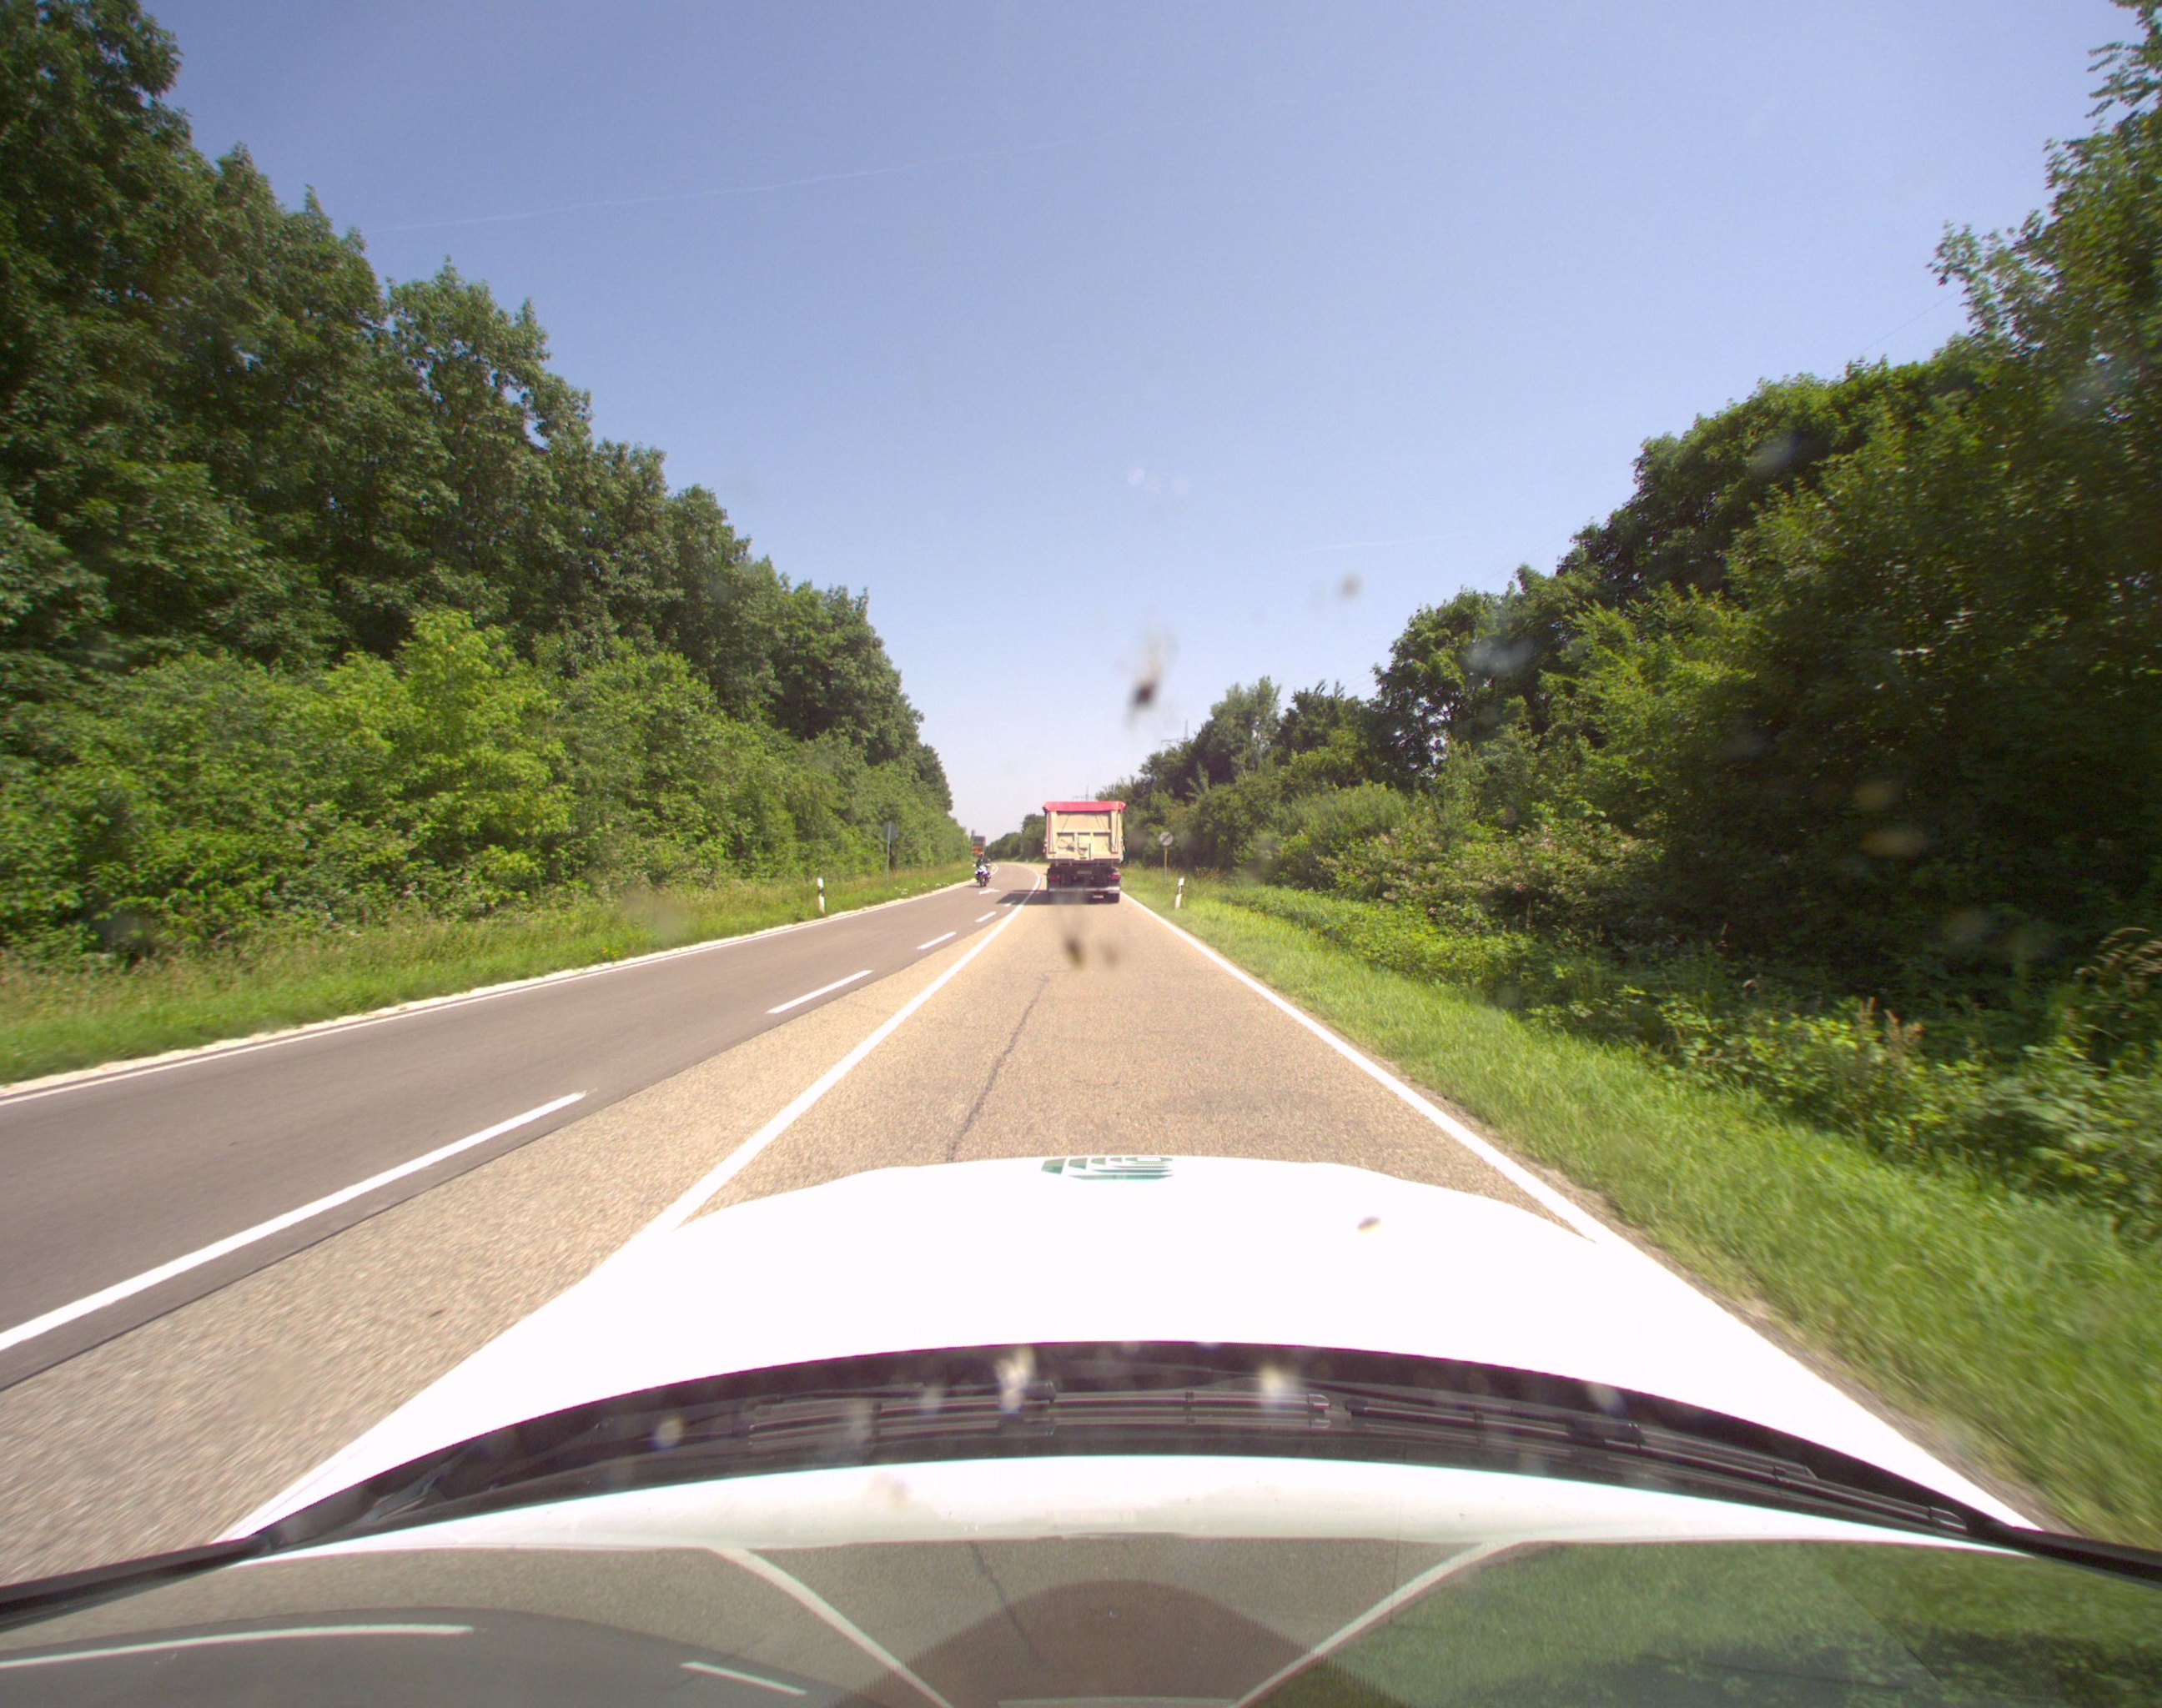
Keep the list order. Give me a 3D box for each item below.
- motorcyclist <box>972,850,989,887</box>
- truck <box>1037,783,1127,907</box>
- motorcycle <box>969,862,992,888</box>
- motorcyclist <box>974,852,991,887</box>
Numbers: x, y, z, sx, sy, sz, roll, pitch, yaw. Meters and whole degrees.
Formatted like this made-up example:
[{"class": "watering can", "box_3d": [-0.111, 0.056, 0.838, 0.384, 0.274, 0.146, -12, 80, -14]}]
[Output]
[{"class": "motorcyclist", "box_3d": [-5.113, 0.728, 41.541, 0.818, 1.882, 0.656, 0, -1, -3]}, {"class": "truck", "box_3d": [0.070, -0.302, 32.072, 2.884, 3.962, 11.931, 0, 0, 0]}, {"class": "motorcycle", "box_3d": [-5.129, 1.054, 41.828, 0.944, 1.251, 2.680, 0, 0, -2]}, {"class": "motorcyclist", "box_3d": [-5.109, 0.799, 42.245, 0.828, 1.752, 0.622, 0, -1, -3]}]
